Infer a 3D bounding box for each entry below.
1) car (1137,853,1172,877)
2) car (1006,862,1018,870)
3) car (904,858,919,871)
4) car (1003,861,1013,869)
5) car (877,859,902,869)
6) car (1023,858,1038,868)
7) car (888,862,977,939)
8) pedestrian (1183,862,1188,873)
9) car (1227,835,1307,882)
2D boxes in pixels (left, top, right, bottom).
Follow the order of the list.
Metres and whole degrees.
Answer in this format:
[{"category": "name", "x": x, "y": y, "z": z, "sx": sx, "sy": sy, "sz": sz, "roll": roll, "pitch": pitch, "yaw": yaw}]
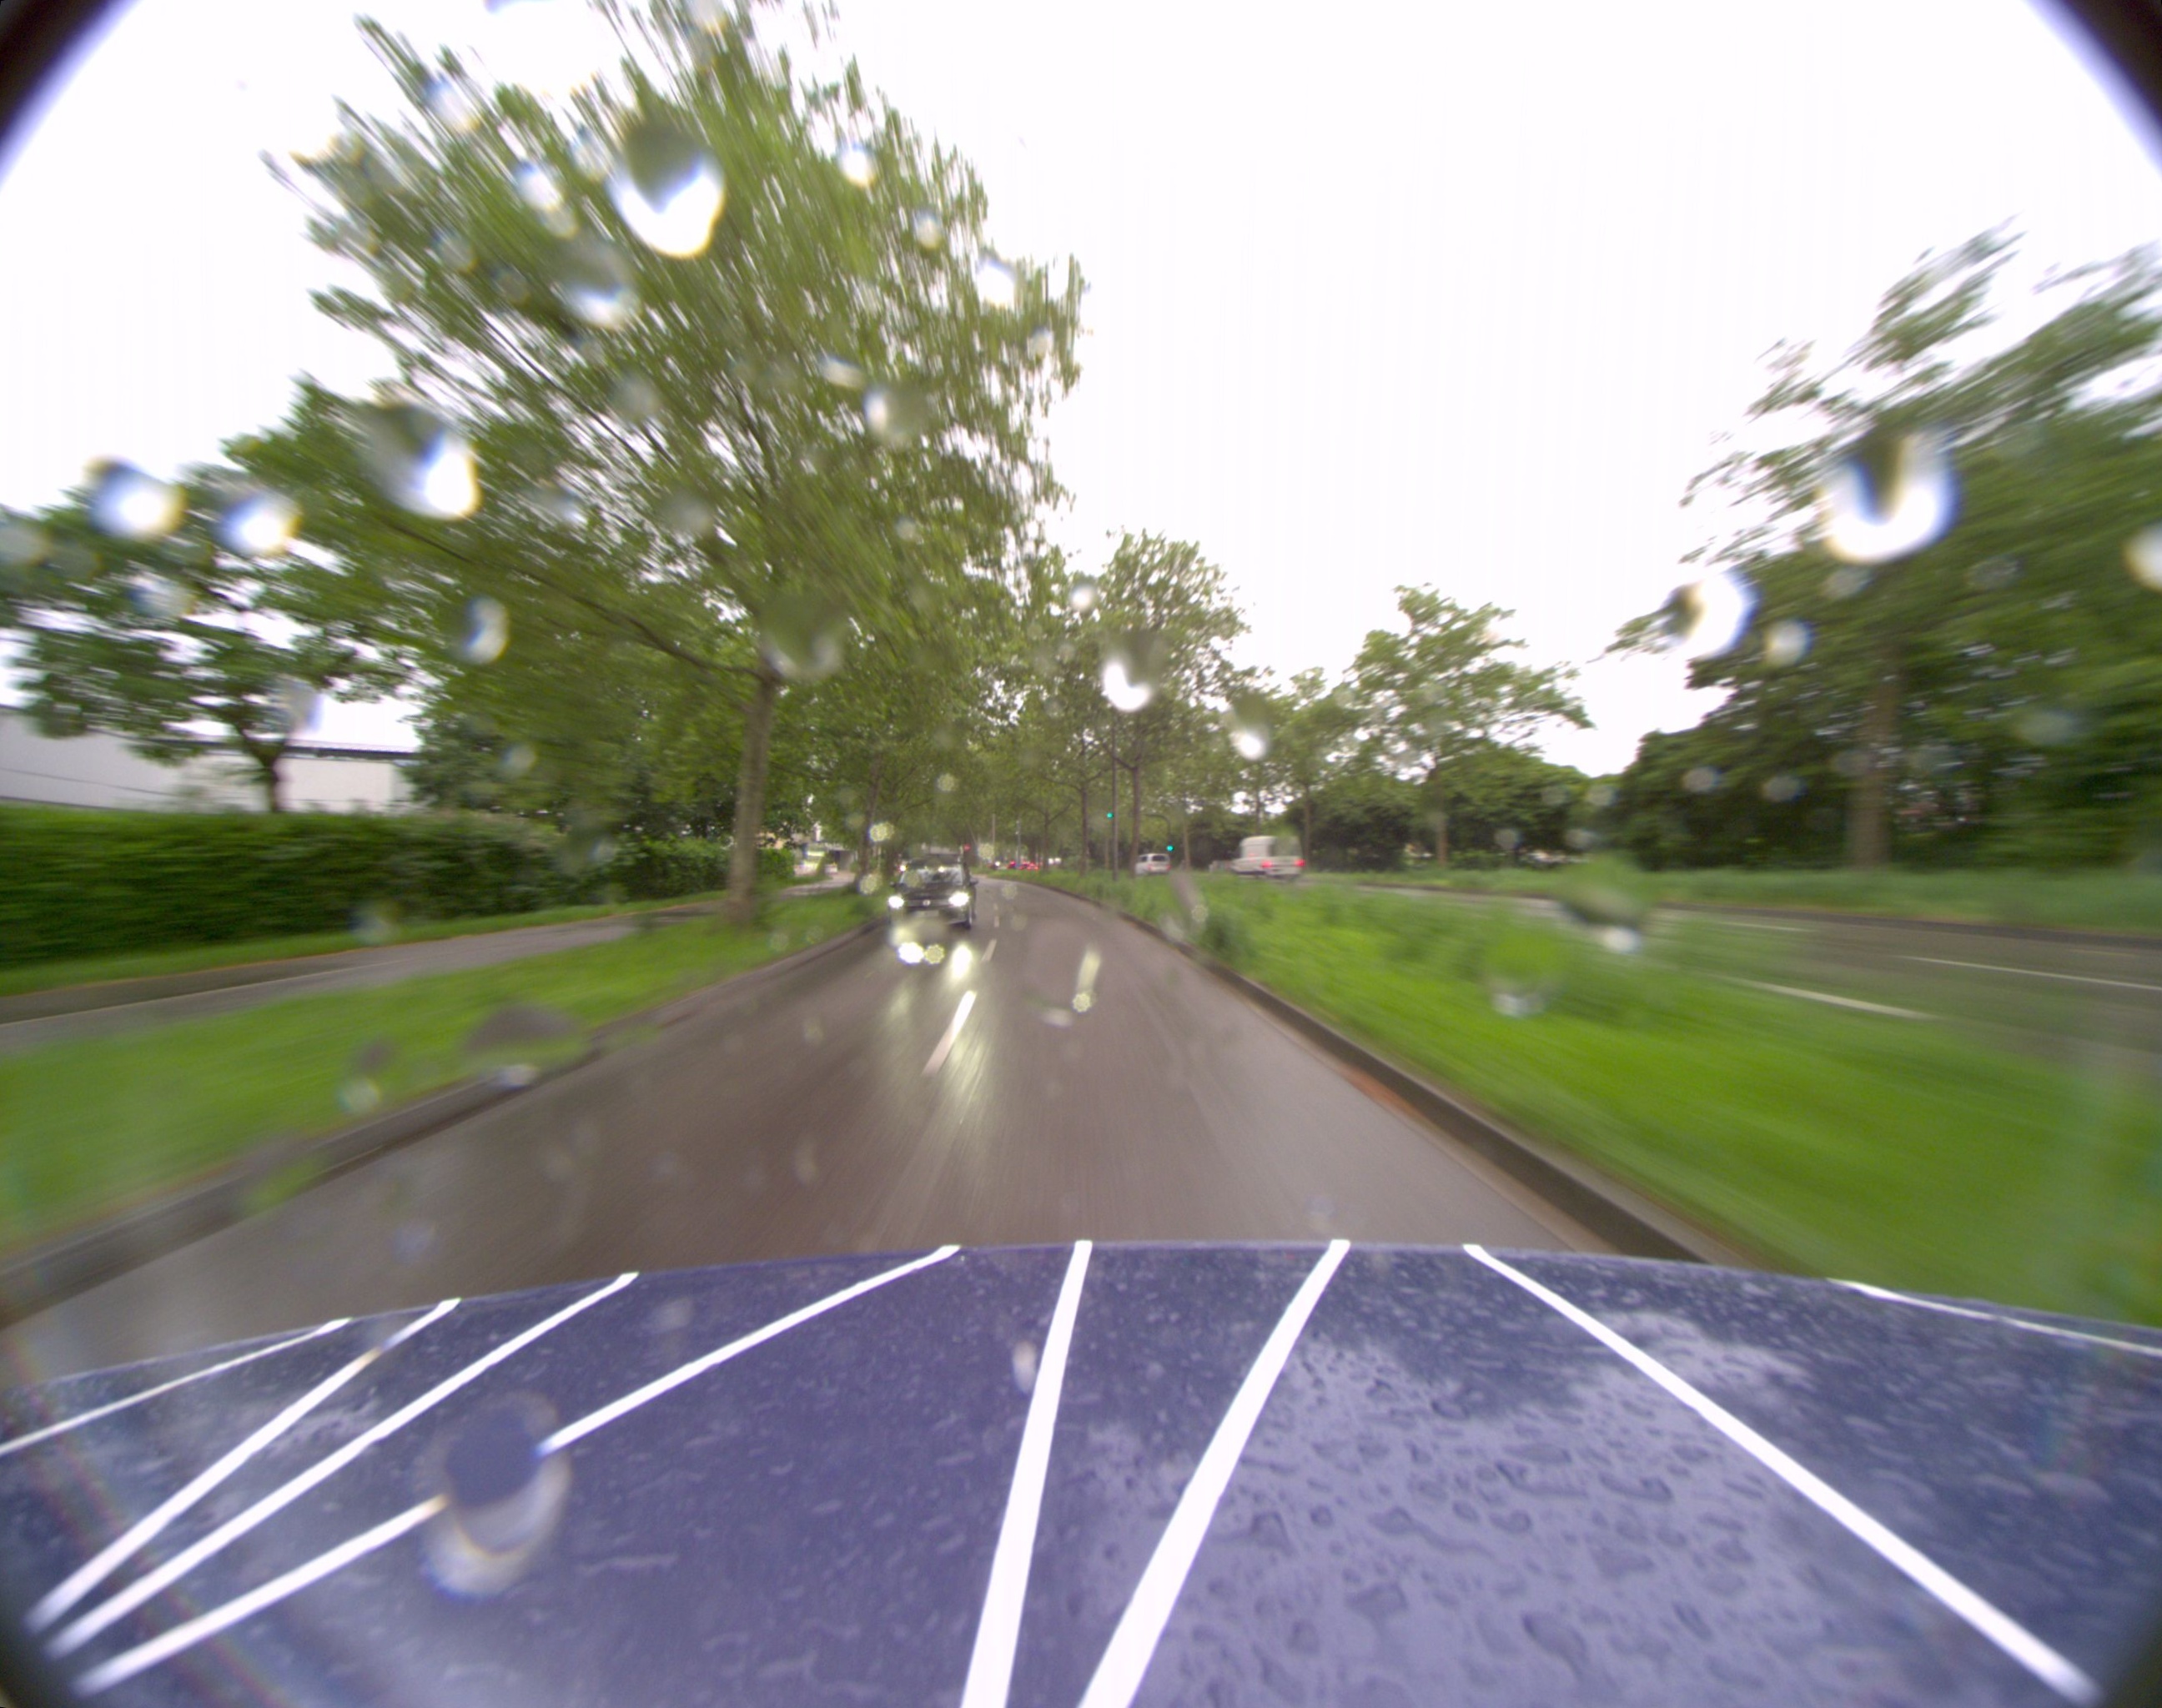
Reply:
[{"category": "car", "x": 6.292, "y": 0.922, "z": 65.318, "sx": 1.940, "sy": 1.929, "sz": 5.195, "roll": 0, "pitch": 0, "yaw": -6}, {"category": "car", "x": -12.668, "y": 2.221, "z": 140.175, "sx": 1.786, "sy": 1.546, "sz": 3.996, "roll": 0, "pitch": 0, "yaw": -11}, {"category": "car", "x": -20.864, "y": 1.265, "z": 93.479, "sx": 1.786, "sy": 1.546, "sz": 3.995, "roll": 0, "pitch": 0, "yaw": -14}, {"category": "car", "x": -15.425, "y": 2.306, "z": 161.052, "sx": 1.786, "sy": 1.546, "sz": 3.996, "roll": 0, "pitch": 0, "yaw": -11}, {"category": "car", "x": -32.778, "y": 1.719, "z": 130.025, "sx": 4.002, "sy": 1.546, "sz": 1.783, "roll": 0, "pitch": 0, "yaw": -15}, {"category": "car", "x": -7.864, "y": 1.390, "z": 117.047, "sx": 1.786, "sy": 1.546, "sz": 3.996, "roll": 0, "pitch": 0, "yaw": -11}, {"category": "car", "x": -3.465, "y": 1.002, "z": 18.138, "sx": 1.785, "sy": 1.546, "sz": 3.997, "roll": -3, "pitch": 0, "yaw": -9}, {"category": "pedestrian", "x": 10.737, "y": 1.385, "z": 78.076, "sx": 0.476, "sy": 1.034, "sz": 0.441, "roll": 0, "pitch": 0, "yaw": -8}, {"category": "car", "x": 10.233, "y": 0.238, "z": 42.462, "sx": 2.285, "sy": 2.412, "sz": 6.356, "roll": 0, "pitch": 0, "yaw": -6}]
